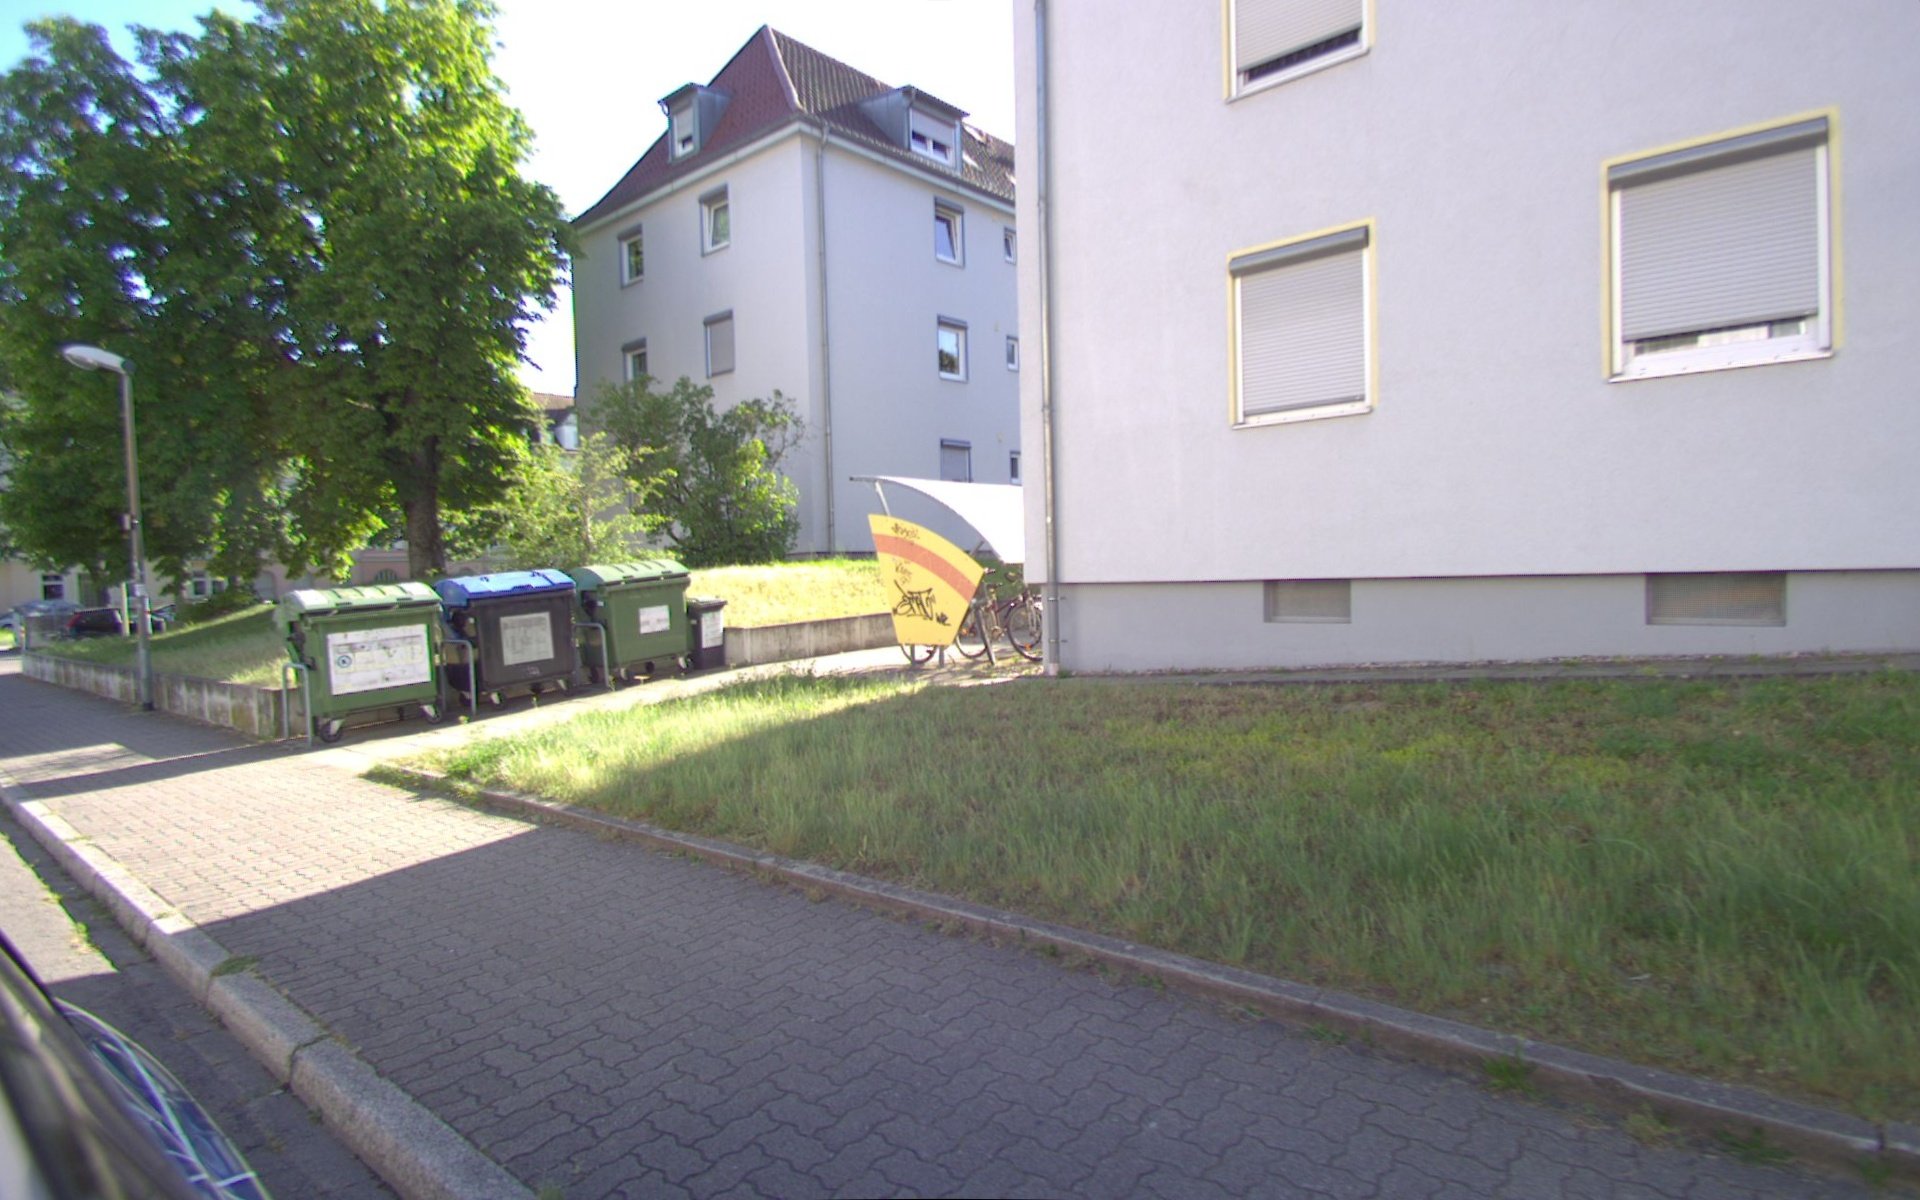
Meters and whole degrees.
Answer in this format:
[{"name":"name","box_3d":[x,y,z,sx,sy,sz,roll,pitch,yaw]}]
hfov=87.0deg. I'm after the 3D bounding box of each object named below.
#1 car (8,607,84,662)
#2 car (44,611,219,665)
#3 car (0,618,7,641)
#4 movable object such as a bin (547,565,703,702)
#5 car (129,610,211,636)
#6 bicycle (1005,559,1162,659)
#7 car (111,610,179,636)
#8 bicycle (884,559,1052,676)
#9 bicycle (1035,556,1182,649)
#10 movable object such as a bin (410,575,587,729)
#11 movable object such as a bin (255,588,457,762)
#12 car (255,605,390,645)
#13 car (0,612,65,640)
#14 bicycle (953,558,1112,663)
[{"name":"car","box_3d":[-29.907,1.098,33.089,1.655,1.667,3.306,-1,0,-45]},{"name":"car","box_3d":[-26.395,1.176,32.334,1.728,1.508,4.087,-1,0,41]},{"name":"car","box_3d":[-57.625,1.762,58.798,1.544,1.329,3.152,-1,0,40]},{"name":"movable object such as a bin","box_3d":[-4.114,0.376,12.466,1.072,1.463,1.347,-1,5,41]},{"name":"car","box_3d":[-47.988,1.390,61.531,1.624,1.456,3.737,-1,0,42]},{"name":"bicycle","box_3d":[1.613,0.115,13.432,2.008,1.227,0.670,-1,2,41]},{"name":"car","box_3d":[-52.426,1.453,65.132,1.544,1.519,3.152,-1,0,40]},{"name":"bicycle","box_3d":[0.059,0.200,11.911,2.008,1.260,0.633,-1,2,41]},{"name":"bicycle","box_3d":[2.086,0.043,14.380,2.008,1.227,0.633,-1,2,41]},{"name":"movable object such as a bin","box_3d":[-5.111,0.534,11.258,1.082,1.470,1.341,-1,5,41]},{"name":"movable object such as a bin","box_3d":[-6.010,0.690,10.095,1.197,1.470,1.302,-1,5,41]},{"name":"car","box_3d":[-22.930,0.872,36.513,1.629,1.282,3.813,-1,0,41]},{"name":"car","box_3d":[-52.363,1.430,56.273,1.624,1.456,3.737,-1,0,42]},{"name":"bicycle","box_3d":[0.889,0.129,12.849,2.008,1.227,0.633,-1,2,41]}]
